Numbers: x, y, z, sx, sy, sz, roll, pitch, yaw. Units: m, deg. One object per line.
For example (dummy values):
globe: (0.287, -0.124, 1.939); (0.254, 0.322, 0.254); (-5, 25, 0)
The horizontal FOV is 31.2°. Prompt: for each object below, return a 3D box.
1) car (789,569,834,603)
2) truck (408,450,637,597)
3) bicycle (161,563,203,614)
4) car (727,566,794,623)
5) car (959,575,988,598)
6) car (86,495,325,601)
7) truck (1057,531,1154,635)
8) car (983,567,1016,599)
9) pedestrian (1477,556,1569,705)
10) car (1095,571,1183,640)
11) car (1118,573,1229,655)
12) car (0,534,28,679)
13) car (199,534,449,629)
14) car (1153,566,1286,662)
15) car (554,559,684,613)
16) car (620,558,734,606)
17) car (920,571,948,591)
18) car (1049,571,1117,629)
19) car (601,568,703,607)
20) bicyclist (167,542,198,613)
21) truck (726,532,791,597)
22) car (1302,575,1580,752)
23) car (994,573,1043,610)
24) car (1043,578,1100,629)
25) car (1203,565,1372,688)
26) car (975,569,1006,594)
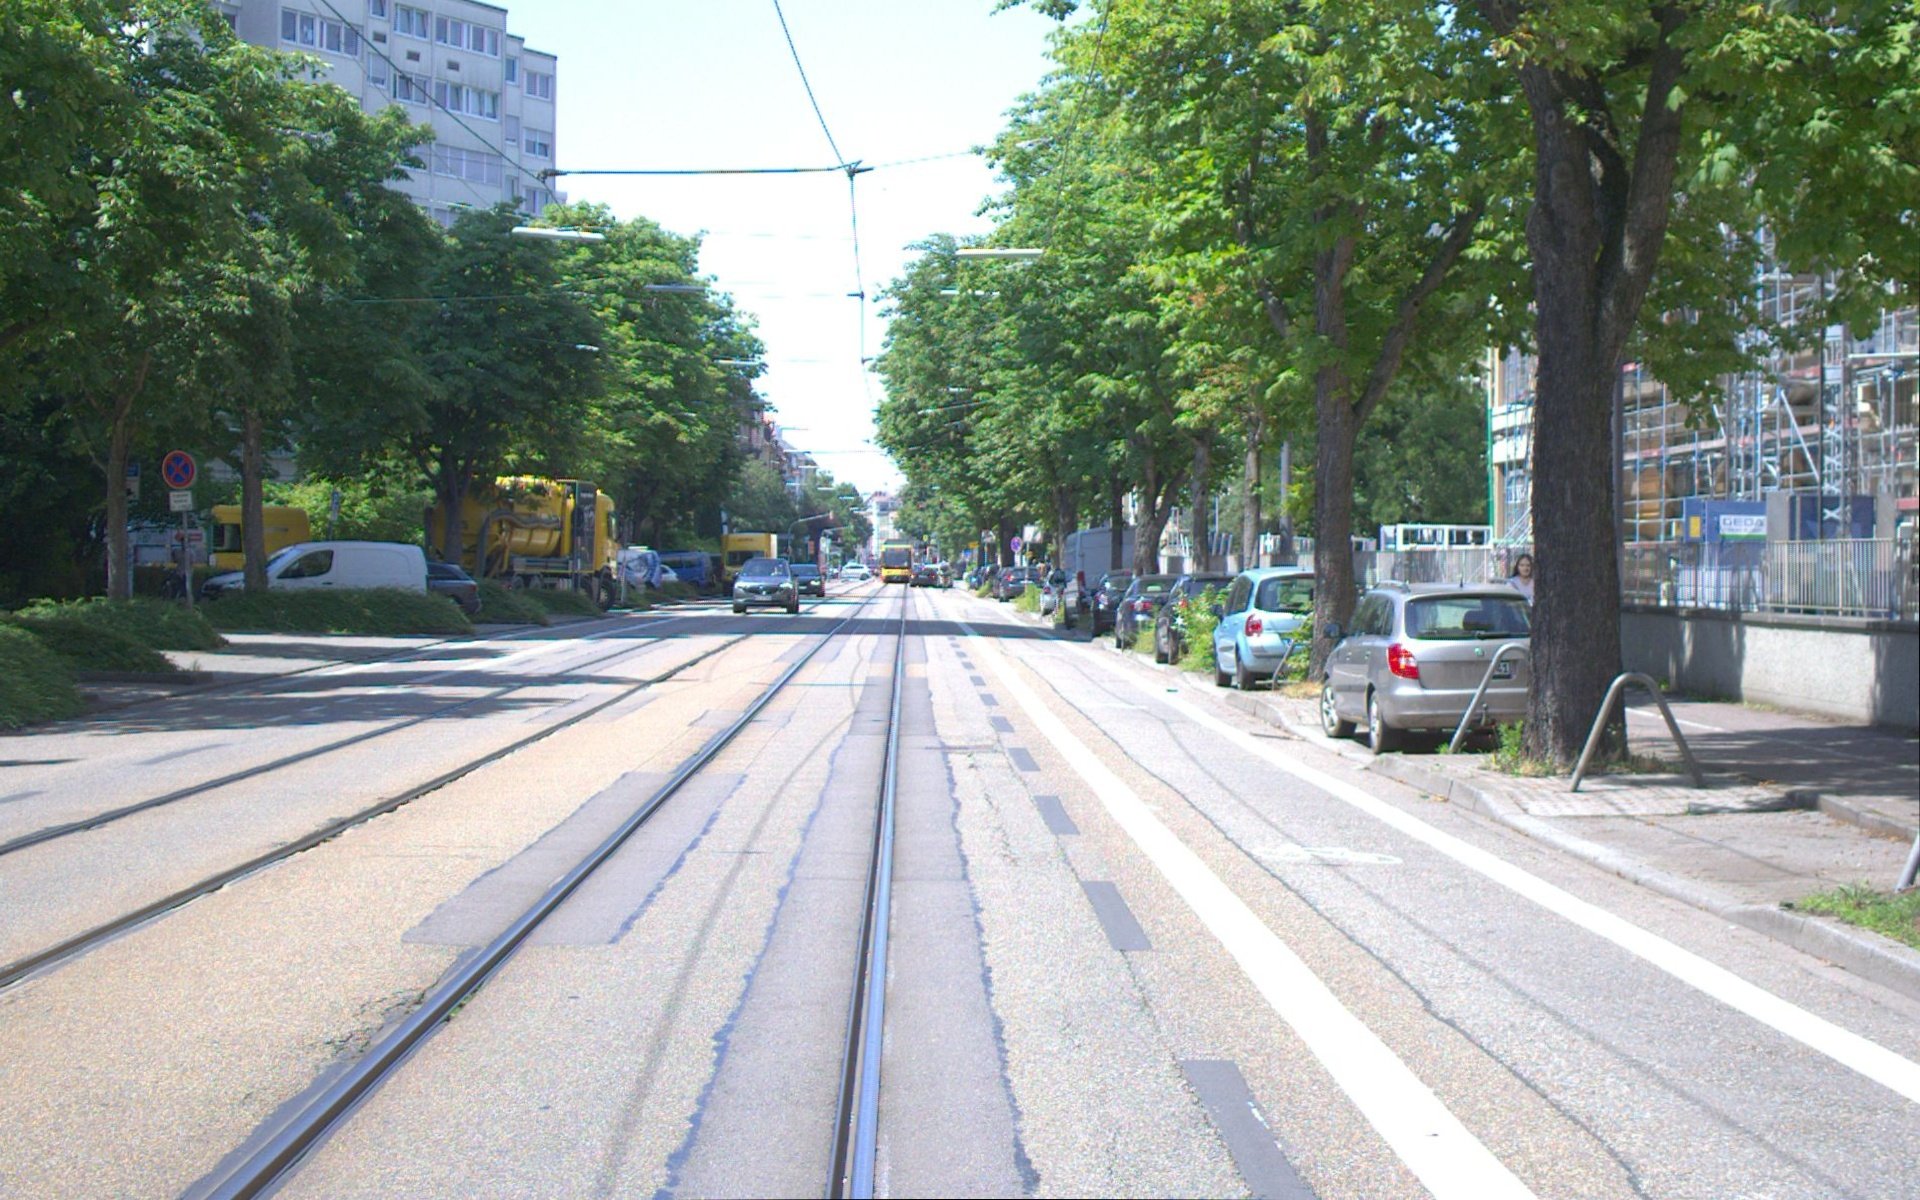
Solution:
car: (-6.273, -0.617, 145.846); (1.774, 1.392, 4.287); (0, 1, -1)
truck: (-12.437, -2.097, 99.041); (2.717, 3.829, 10.956); (2, 0, 13)
bicycle: (-16.463, -0.254, 72.764); (0.518, 1.043, 1.876); (2, 1, -3)
car: (-5.972, -0.189, 103.201); (1.831, 1.675, 4.185); (0, 1, -1)
car: (0.860, -0.863, 217.685); (1.710, 1.418, 4.310); (0, 0, -1)
car: (-19.843, -1.327, 90.774); (2.182, 2.557, 6.713); (1, -1, 29)
truck: (3.601, -0.442, 85.860); (2.014, 2.480, 5.956); (0, 1, -1)
car: (2.041, -0.873, 180.327); (1.592, 1.611, 3.908); (0, 0, -1)
pedestrian: (6.097, 0.322, 37.288); (0.799, 1.583, 0.919); (-1, 1, -2)
car: (3.895, 0.098, 75.413); (1.824, 1.466, 4.400); (0, 1, 2)
car: (3.964, 0.239, 64.399); (1.824, 1.466, 4.486); (0, 1, 1)
car: (-12.653, 0.028, 36.875); (4.764, 1.561, 2.002); (1, 0, -29)
car: (-12.812, -0.367, 69.384); (4.533, 1.785, 1.901); (1, 1, -33)
car: (4.051, 0.194, 54.247); (1.671, 1.433, 4.042); (0, 1, -2)
car: (-12.736, -0.544, 128.564); (1.920, 1.928, 4.745); (-1, 0, 42)
car: (-12.721, -0.820, 154.700); (4.748, 2.055, 2.026); (-1, 1, -39)
car: (-1.696, -1.250, 225.726); (1.781, 1.341, 3.416); (0, 0, 0)
car: (3.334, -0.019, 93.621); (1.644, 1.529, 3.947); (0, 1, -1)
car: (-12.704, -0.524, 141.952); (1.761, 1.428, 3.990); (-3, 0, 42)
bicyclist: (-16.455, -0.476, 72.780); (0.480, 1.476, 0.781); (2, 0, -3)
truck: (-9.067, -1.620, 155.161); (2.360, 2.843, 7.378); (-1, 1, 1)
car: (4.351, 0.534, 31.720); (1.671, 1.494, 4.366); (0, 1, -4)
car: (2.347, -0.341, 138.918); (1.639, 1.480, 3.873); (0, 0, -4)
car: (3.400, 0.097, 105.424); (1.644, 1.529, 3.785); (0, 1, 1)
car: (4.212, 0.306, 44.707); (1.671, 1.512, 4.202); (0, 1, -2)
car: (1.768, -1.063, 199.655); (1.710, 1.418, 4.310); (0, 0, -1)
